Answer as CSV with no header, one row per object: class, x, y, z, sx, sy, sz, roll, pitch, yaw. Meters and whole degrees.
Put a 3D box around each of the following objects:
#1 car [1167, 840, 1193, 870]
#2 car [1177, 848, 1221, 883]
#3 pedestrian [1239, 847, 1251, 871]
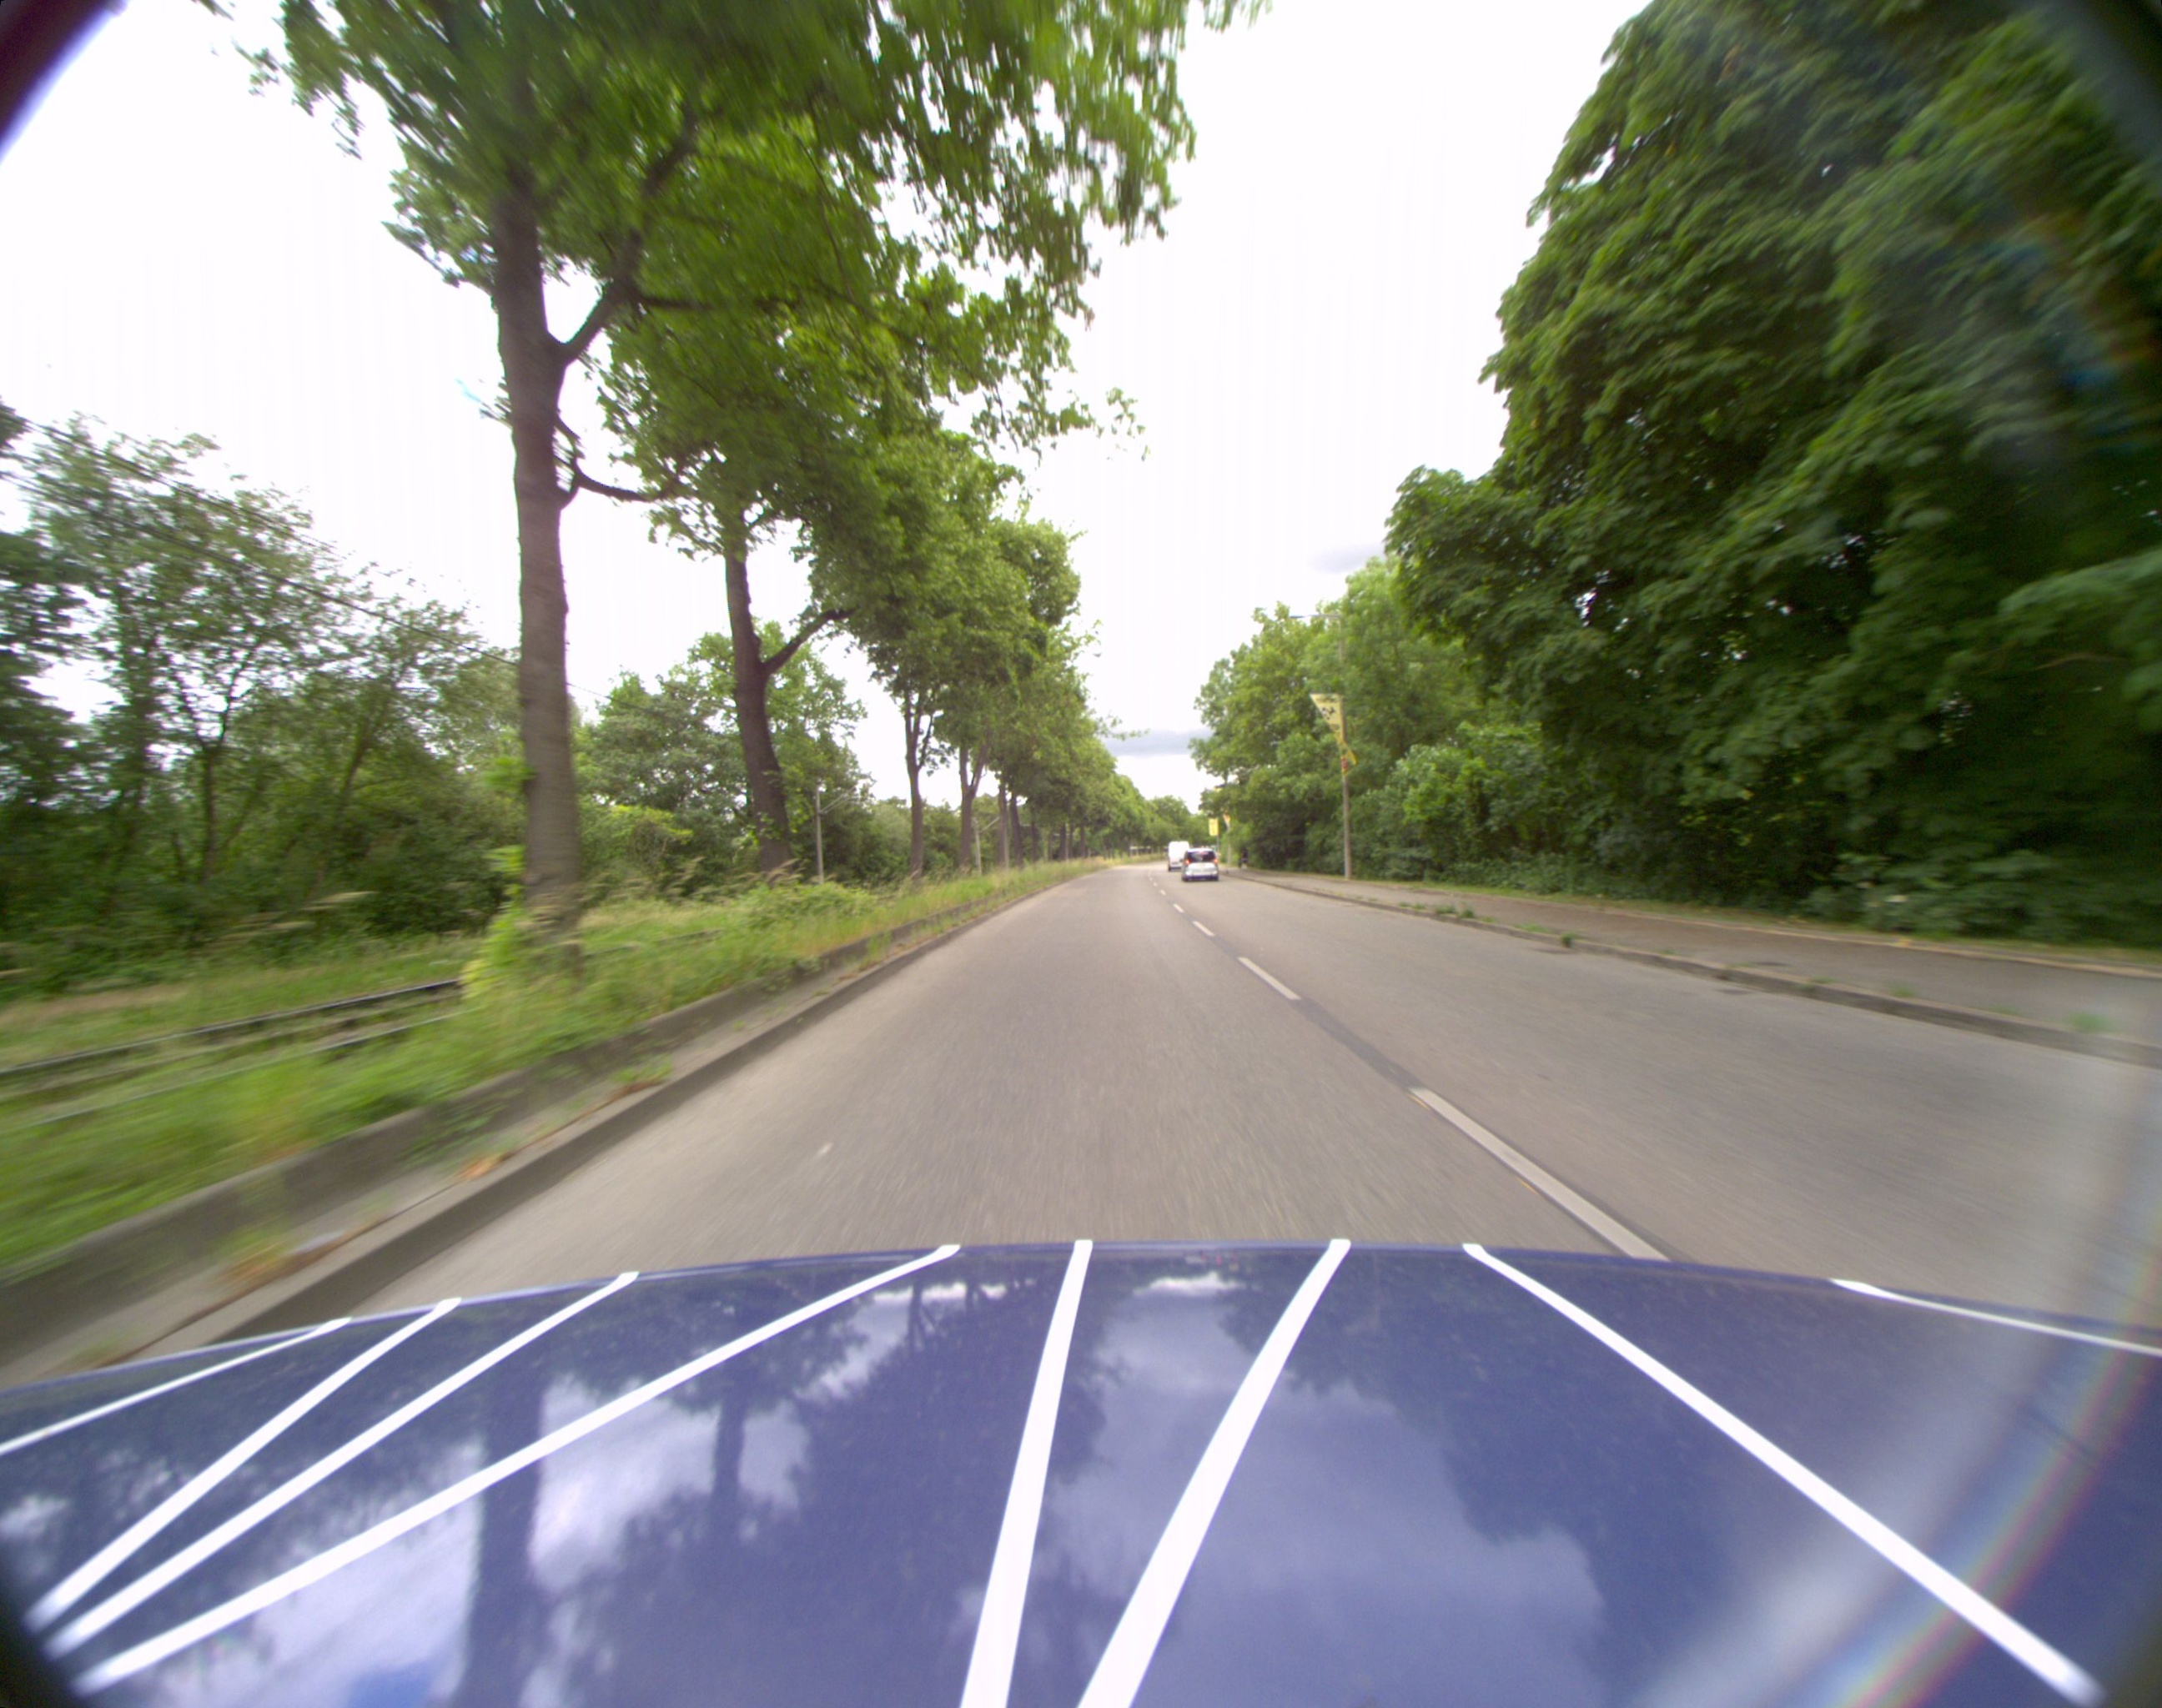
car,9.015,0.138,69.577,1.998,2.611,5.896,-1,0,4
car,6.494,0.619,42.250,1.861,1.788,4.557,-1,-1,1
pedestrian,11.910,0.334,55.173,0.600,1.704,0.815,-4,0,3
